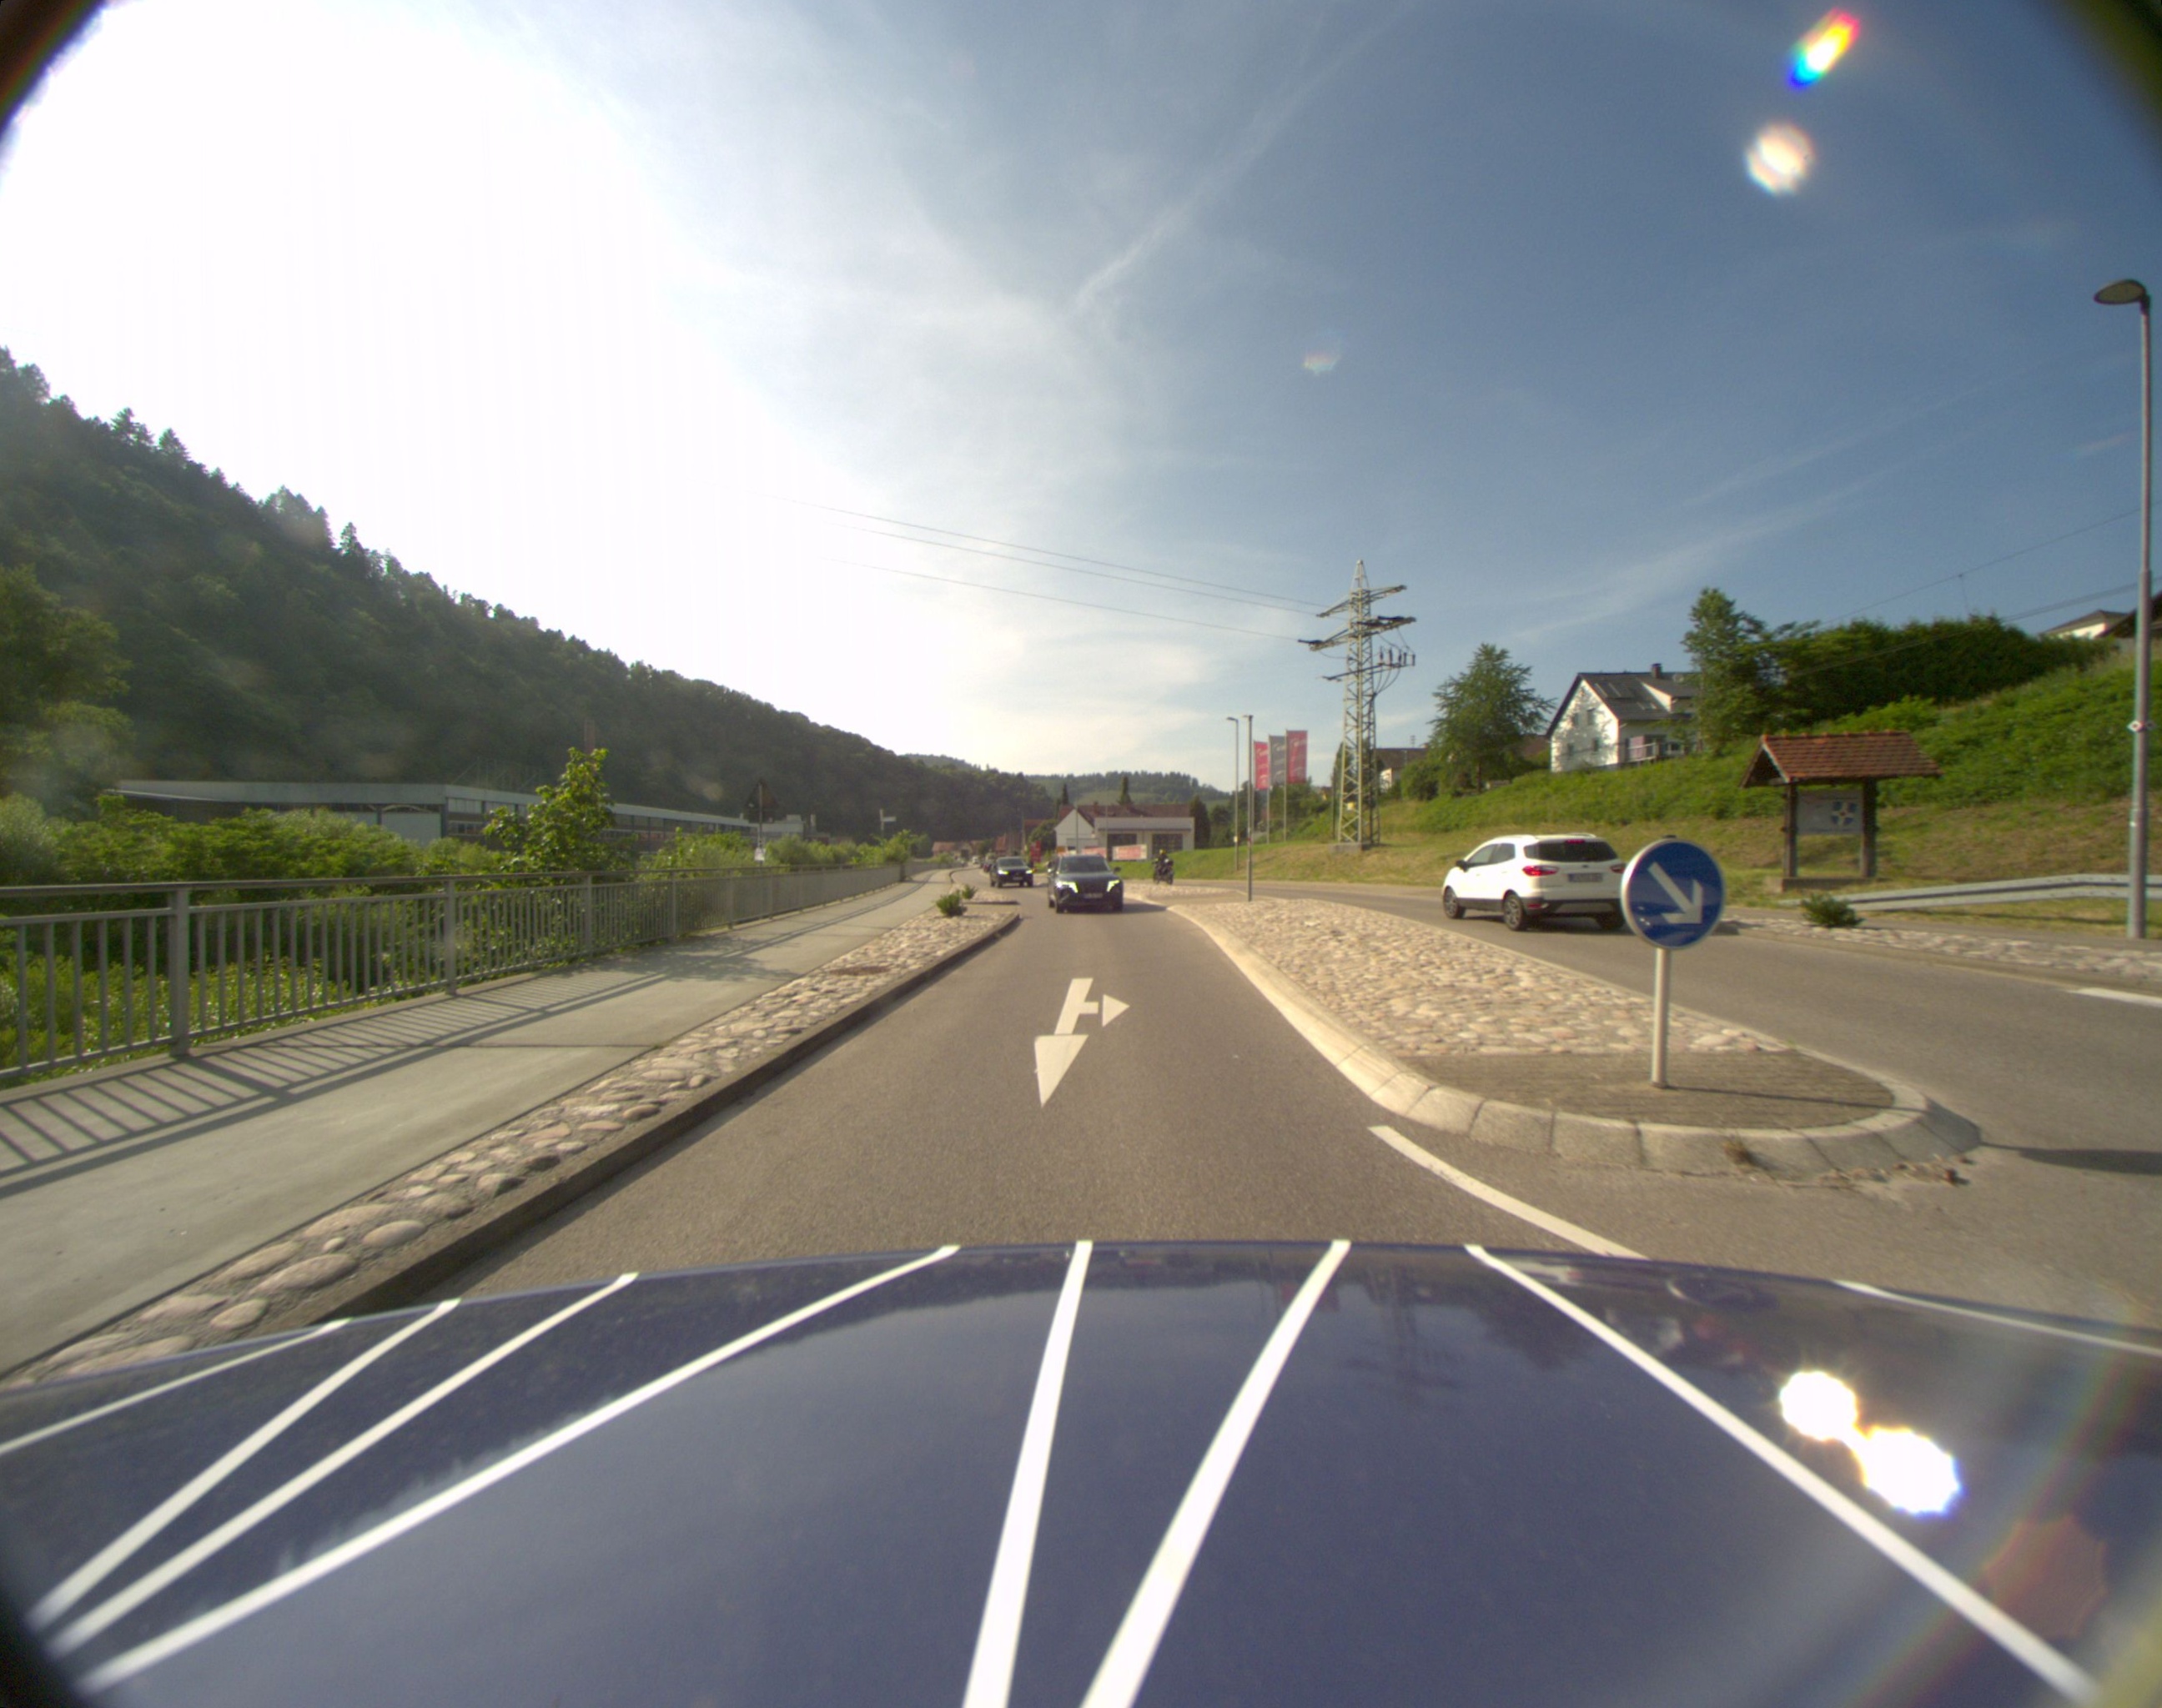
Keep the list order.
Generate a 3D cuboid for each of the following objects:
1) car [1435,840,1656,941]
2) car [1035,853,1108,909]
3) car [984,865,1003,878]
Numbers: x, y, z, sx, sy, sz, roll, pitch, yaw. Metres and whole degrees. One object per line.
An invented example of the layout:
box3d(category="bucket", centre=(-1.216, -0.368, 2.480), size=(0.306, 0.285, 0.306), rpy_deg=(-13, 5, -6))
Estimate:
box3d(category="car", centre=(8.195, 0.565, 13.880), size=(1.768, 1.551, 4.001), rpy_deg=(-1, 0, 4))
box3d(category="car", centre=(-0.394, 0.837, 25.341), size=(1.650, 1.639, 3.996), rpy_deg=(-2, 0, -11))
box3d(category="car", centre=(-11.105, 2.202, 96.592), size=(1.781, 1.507, 4.266), rpy_deg=(-1, 0, -15))
